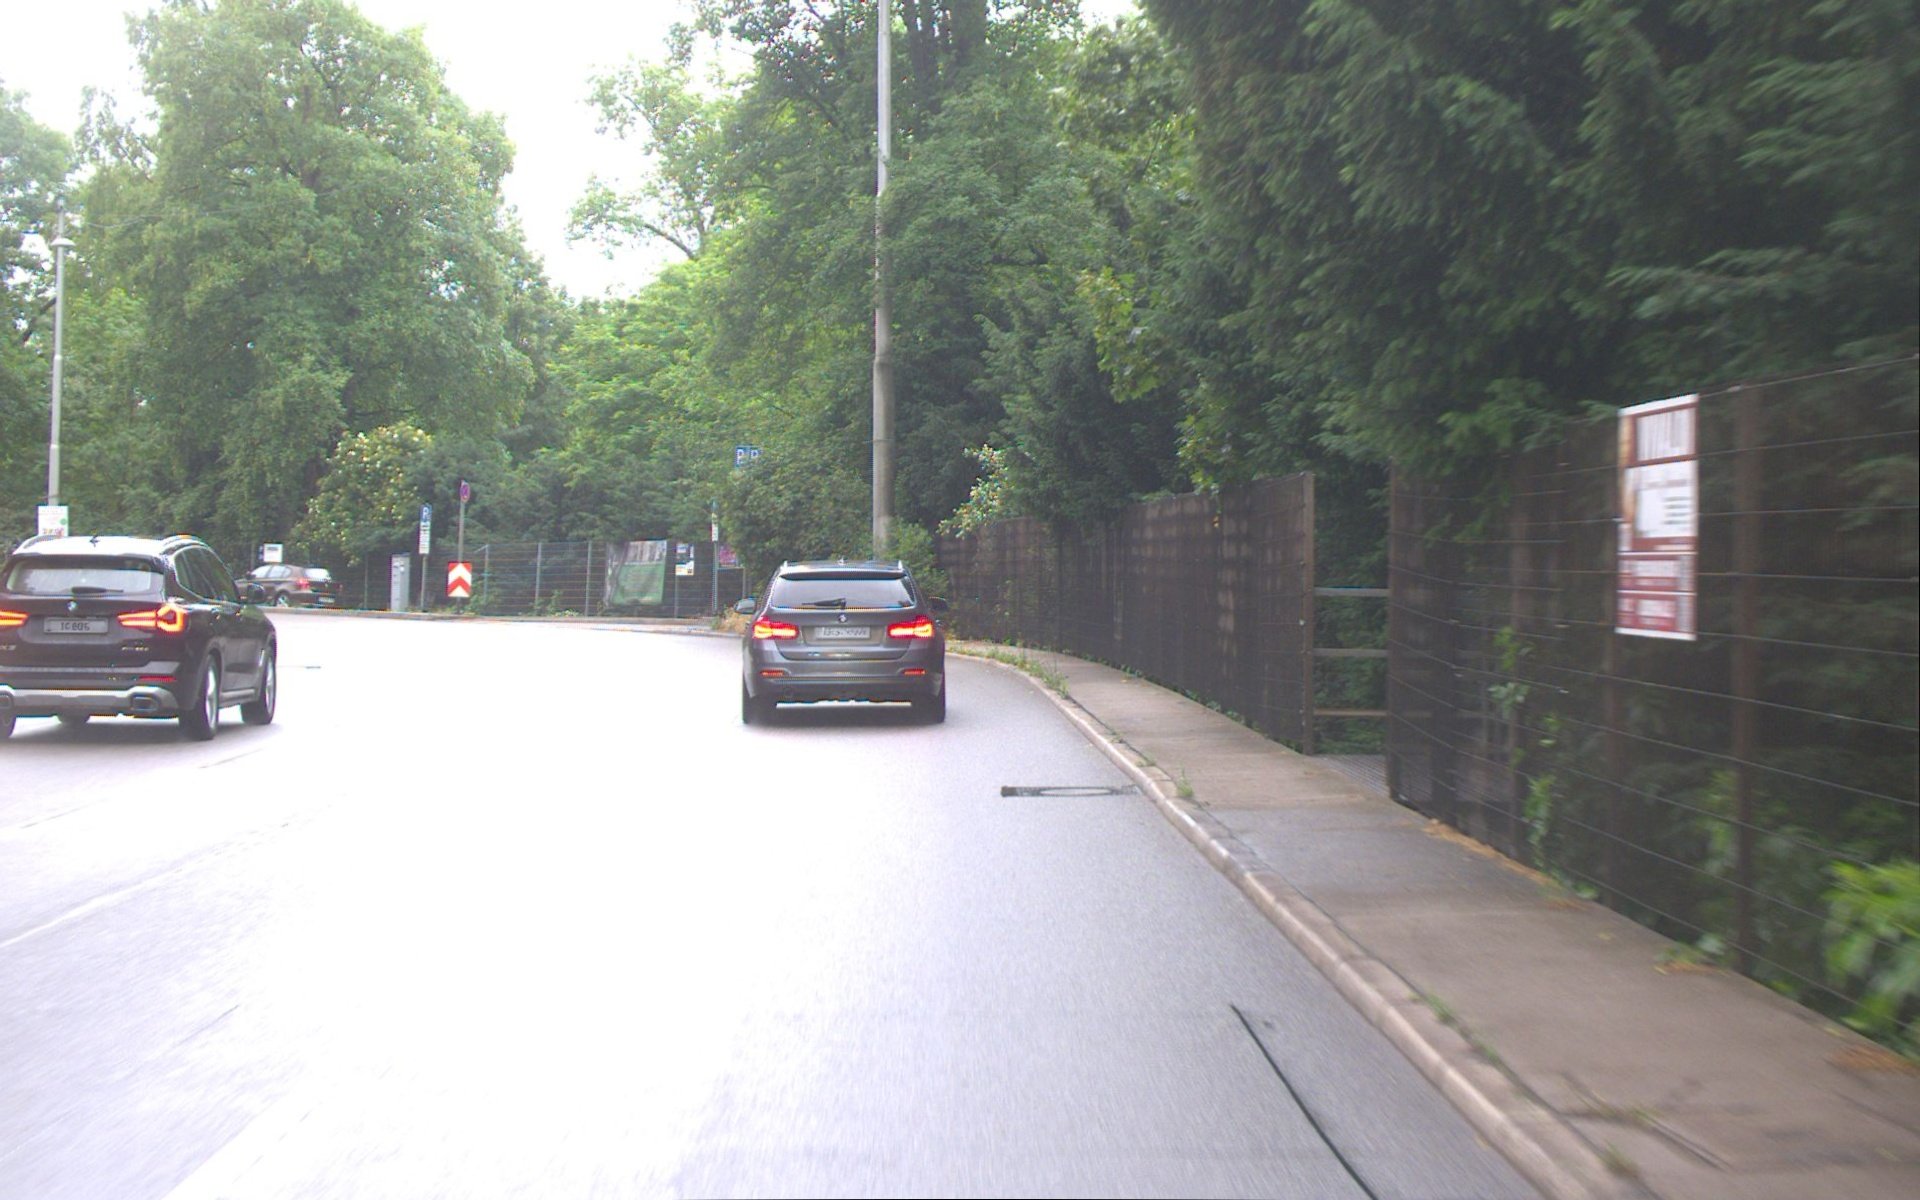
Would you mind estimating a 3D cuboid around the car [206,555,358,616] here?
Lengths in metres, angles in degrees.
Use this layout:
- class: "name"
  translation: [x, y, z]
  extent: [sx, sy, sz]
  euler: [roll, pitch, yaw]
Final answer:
- class: "car"
  translation: [-18.382, -0.405, 93.094]
  extent: [4.367, 1.422, 1.688]
  euler: [2, -2, 42]

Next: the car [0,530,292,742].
- class: "car"
  translation: [-6.851, 0.246, 28.777]
  extent: [1.757, 1.580, 4.413]
  euler: [2, 1, -2]

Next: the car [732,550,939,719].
- class: "car"
  translation: [-1.143, 0.267, 31.653]
  extent: [1.757, 1.427, 4.413]
  euler: [-1, 1, -2]
